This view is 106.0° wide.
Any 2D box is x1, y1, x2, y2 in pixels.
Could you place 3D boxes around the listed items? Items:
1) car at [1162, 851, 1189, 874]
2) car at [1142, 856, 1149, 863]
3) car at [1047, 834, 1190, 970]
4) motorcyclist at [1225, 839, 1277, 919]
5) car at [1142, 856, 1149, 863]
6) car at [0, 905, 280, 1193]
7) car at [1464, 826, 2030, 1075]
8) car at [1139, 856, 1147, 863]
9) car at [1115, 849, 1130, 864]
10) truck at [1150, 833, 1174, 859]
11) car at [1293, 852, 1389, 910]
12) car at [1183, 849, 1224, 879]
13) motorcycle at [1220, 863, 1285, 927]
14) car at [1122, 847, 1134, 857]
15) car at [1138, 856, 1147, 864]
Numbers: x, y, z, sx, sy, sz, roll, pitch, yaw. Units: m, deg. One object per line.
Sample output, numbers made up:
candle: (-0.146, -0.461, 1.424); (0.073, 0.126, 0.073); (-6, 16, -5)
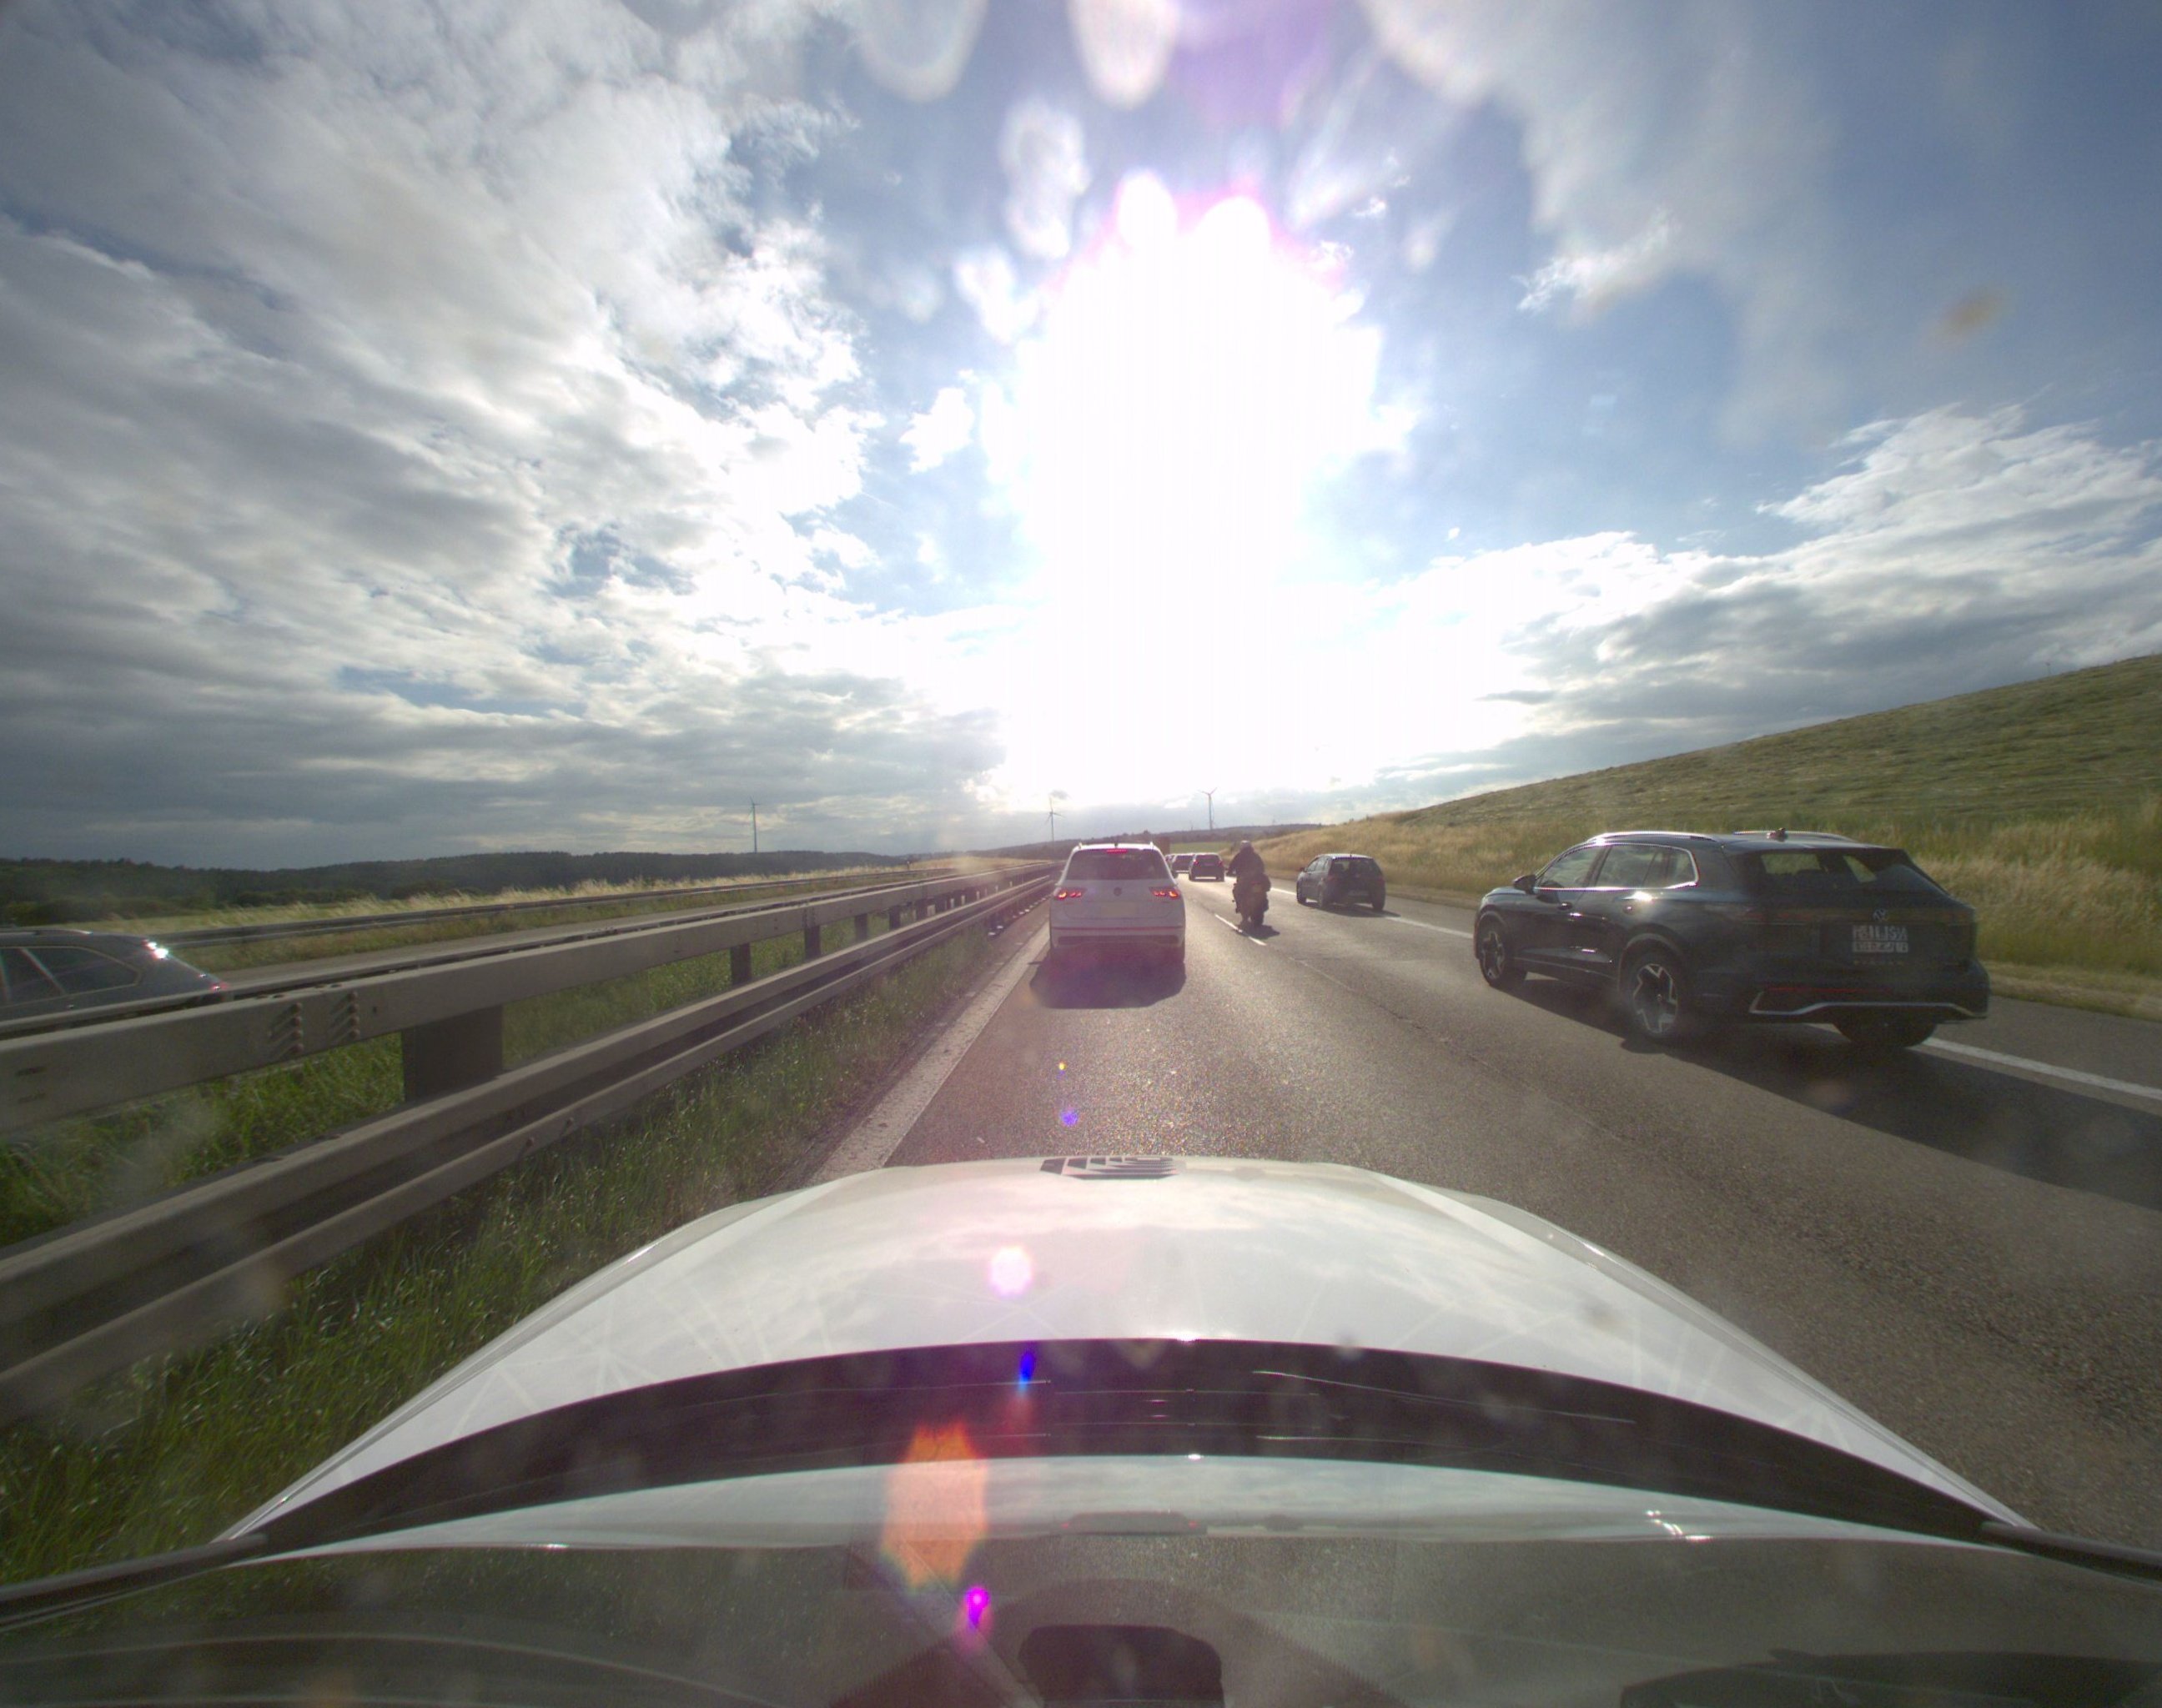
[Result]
car: (7.049, 0.598, 60.996); (1.697, 1.650, 4.002); (-1, 0, 2)
car: (15.820, 1.371, 199.547); (1.697, 1.546, 4.002); (-1, 0, 2)
car: (0.540, 0.616, 12.188); (1.763, 1.675, 4.002); (-1, 0, 2)
motorcyclist: (3.455, 0.500, 16.609); (0.846, 1.560, 0.934); (-1, -1, 1)
car: (16.207, 1.399, 205.483); (1.697, 1.546, 4.002); (-1, 0, 2)
car: (-6.861, 1.145, 4.025); (1.591, 1.515, 4.161); (-1, 0, 2)
car: (5.321, 0.635, 7.415); (1.814, 1.601, 4.237); (0, 0, 2)
car: (13.580, 1.289, 179.158); (1.697, 1.546, 4.002); (-1, 0, 2)
car: (4.883, 0.291, 95.548); (1.697, 1.650, 4.002); (-1, 0, 2)
truck: (12.071, -1.171, 121.731); (3.170, 3.593, 11.142); (-1, 0, 4)
car: (6.965, 0.690, 22.149); (1.599, 1.420, 3.675); (-1, 0, 3)
car: (6.577, 0.536, 44.017); (1.697, 1.546, 4.002); (-1, 0, 2)
motorcycle: (3.459, 0.801, 16.652); (0.892, 1.190, 2.257); (-1, 0, 2)
car: (7.176, -0.318, 125.509); (1.697, 1.546, 4.002); (-1, 0, 2)
car: (12.654, 1.244, 168.803); (1.697, 1.546, 4.002); (-1, 0, 2)
